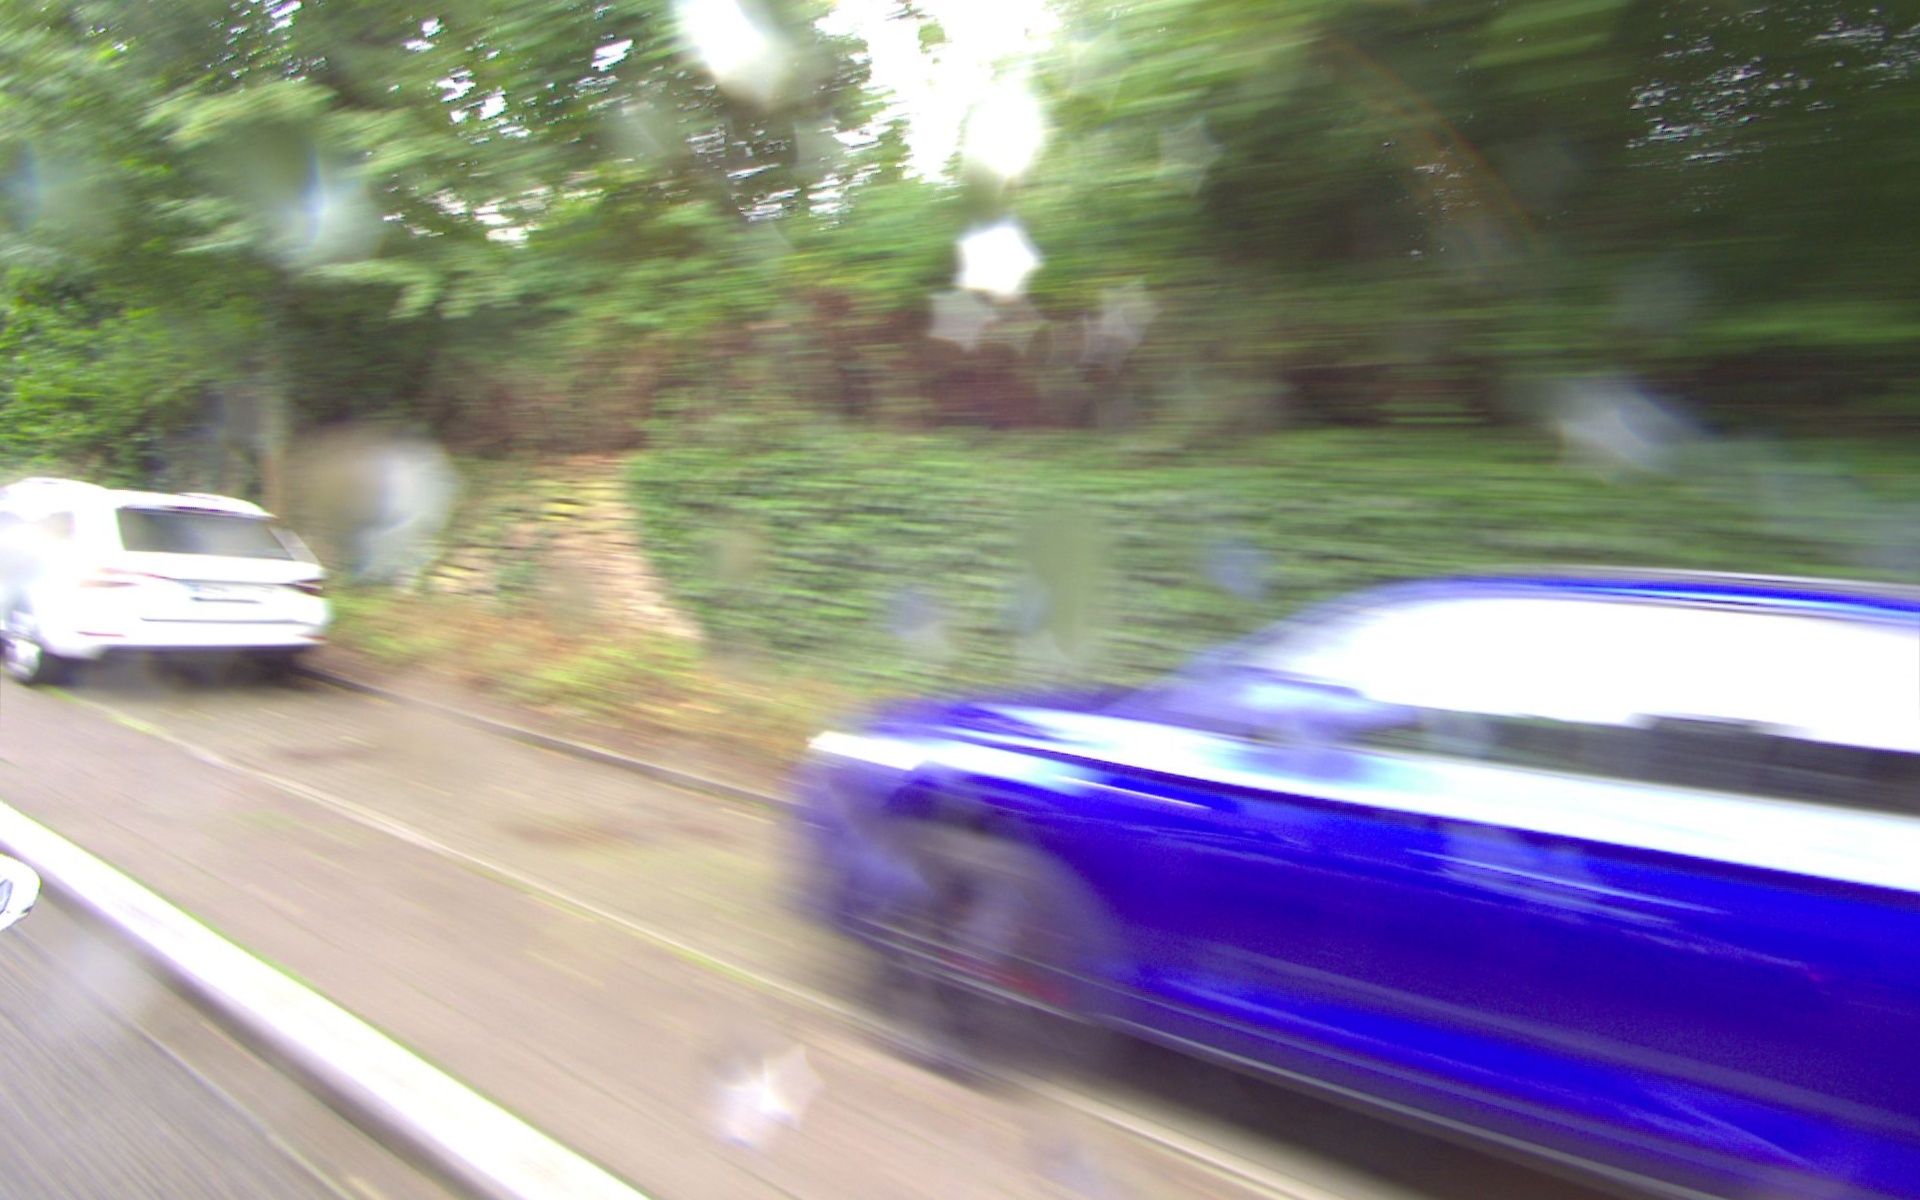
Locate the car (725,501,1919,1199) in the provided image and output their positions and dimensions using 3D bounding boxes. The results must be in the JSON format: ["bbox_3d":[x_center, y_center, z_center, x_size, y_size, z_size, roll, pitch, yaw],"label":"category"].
[{"bbox_3d":[1.706,0.753,2.926,4.601,1.644,1.767,6,0,31],"label":"car"}]

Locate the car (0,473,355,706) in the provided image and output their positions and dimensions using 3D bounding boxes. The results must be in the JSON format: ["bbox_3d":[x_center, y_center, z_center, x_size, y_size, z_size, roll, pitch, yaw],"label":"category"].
[{"bbox_3d":[-7.342,-0.241,8.634,4.662,1.497,1.739,7,2,33],"label":"car"}]
